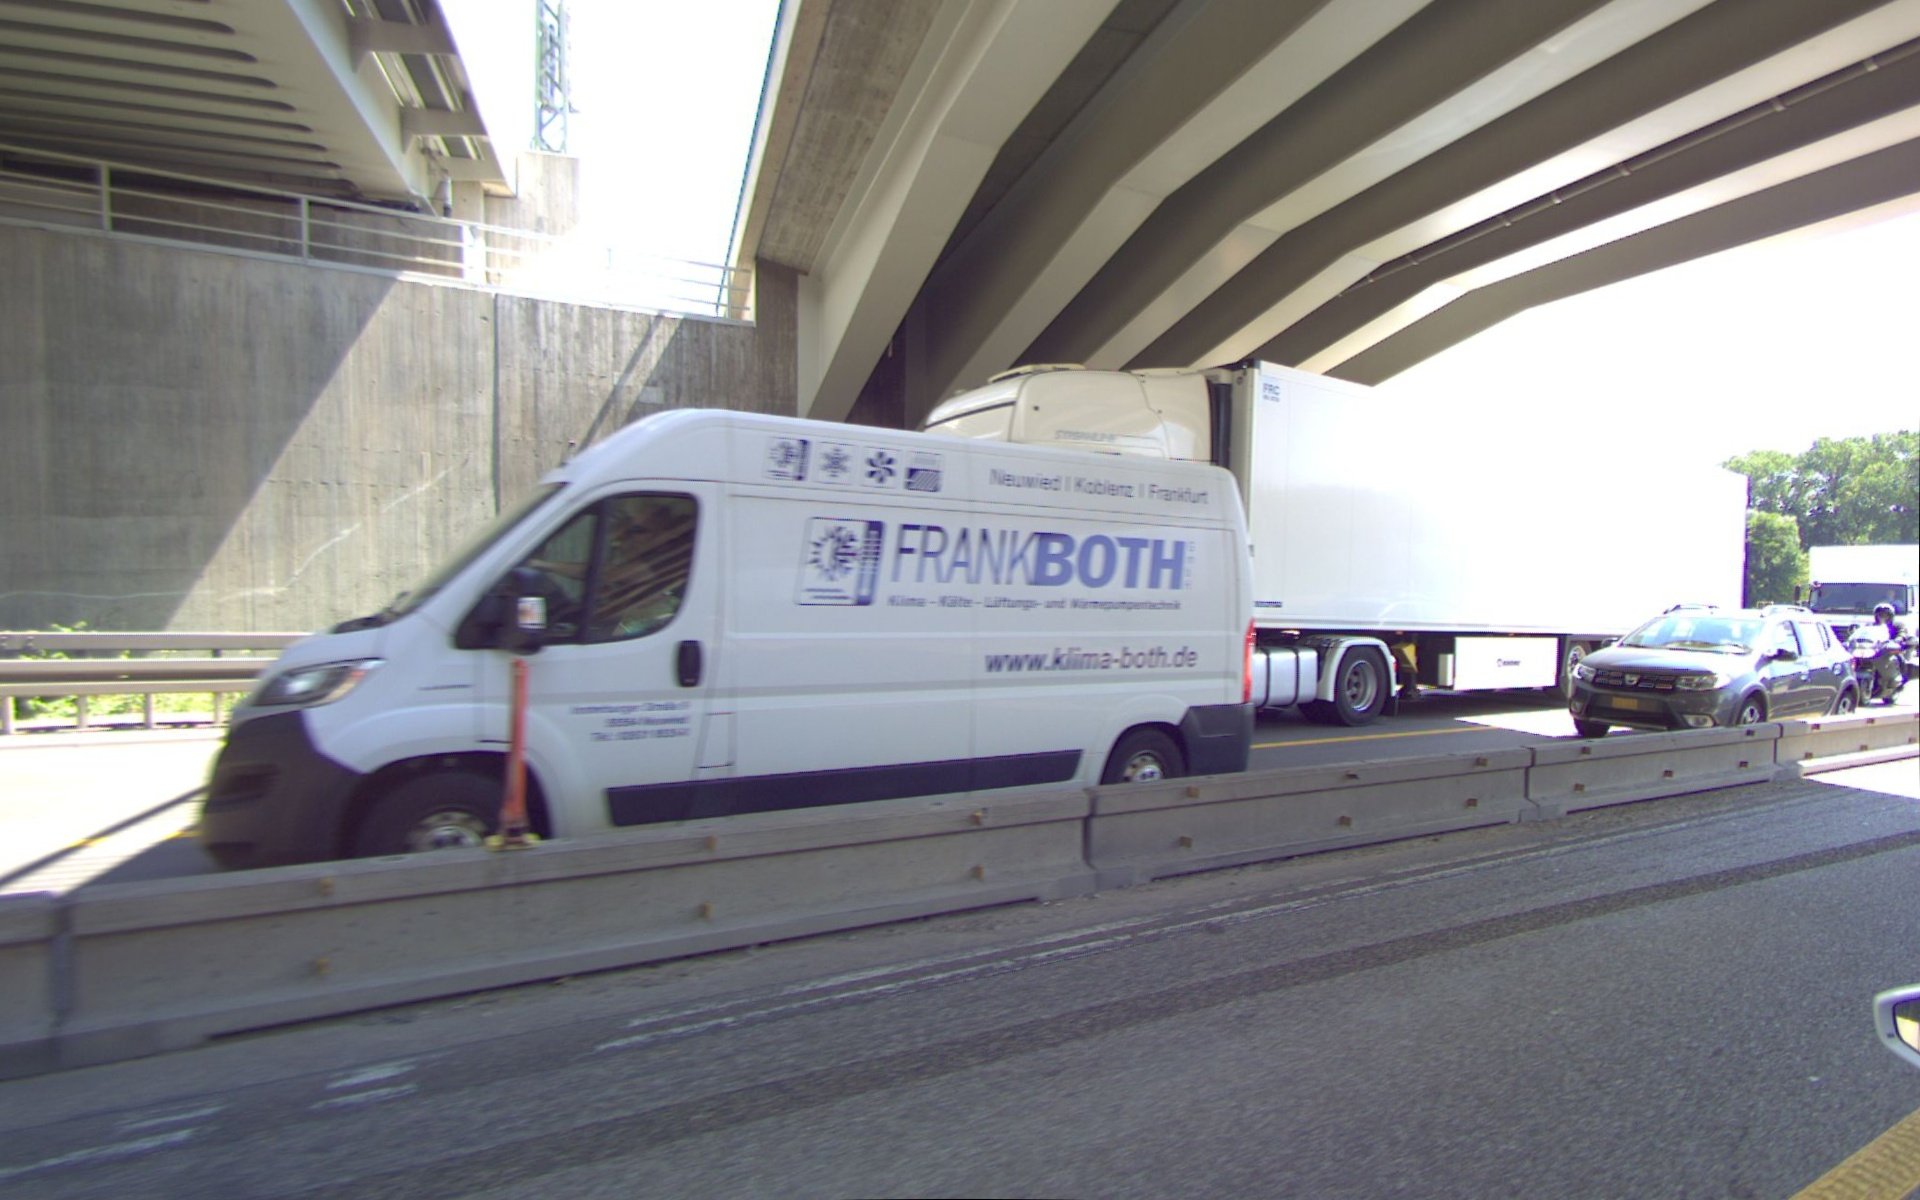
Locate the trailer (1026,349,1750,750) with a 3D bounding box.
[{"bbox_3d":[7.557,-0.450,15.449,14.208,4.094,2.859,1,2,-34],"label":"trailer"}]

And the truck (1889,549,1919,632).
[{"bbox_3d":[46.856,-0.406,48.490,4.916,3.873,2.509,0,2,-44],"label":"truck"}]

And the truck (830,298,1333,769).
[{"bbox_3d":[1.399,-0.592,11.331,4.835,4.106,2.855,1,2,-34],"label":"truck"}]

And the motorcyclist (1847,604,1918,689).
[{"bbox_3d":[16.150,0.813,17.592,0.735,1.435,0.714,3,0,-32],"label":"motorcyclist"}]

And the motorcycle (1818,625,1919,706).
[{"bbox_3d":[15.894,1.114,17.441,2.704,1.296,0.699,2,0,-32],"label":"motorcycle"}]

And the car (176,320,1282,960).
[{"bbox_3d":[-0.853,0.219,6.160,5.992,2.361,1.969,2,0,-33],"label":"car"}]

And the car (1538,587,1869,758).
[{"bbox_3d":[8.812,0.738,11.839,4.032,1.693,1.737,1,1,-32],"label":"car"}]

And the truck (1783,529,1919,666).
[{"bbox_3d":[27.668,-0.057,30.595,8.436,3.623,2.791,1,1,-43],"label":"truck"}]

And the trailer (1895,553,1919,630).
[{"bbox_3d":[51.495,-0.371,52.984,10.175,3.840,2.501,0,2,-44],"label":"trailer"}]
